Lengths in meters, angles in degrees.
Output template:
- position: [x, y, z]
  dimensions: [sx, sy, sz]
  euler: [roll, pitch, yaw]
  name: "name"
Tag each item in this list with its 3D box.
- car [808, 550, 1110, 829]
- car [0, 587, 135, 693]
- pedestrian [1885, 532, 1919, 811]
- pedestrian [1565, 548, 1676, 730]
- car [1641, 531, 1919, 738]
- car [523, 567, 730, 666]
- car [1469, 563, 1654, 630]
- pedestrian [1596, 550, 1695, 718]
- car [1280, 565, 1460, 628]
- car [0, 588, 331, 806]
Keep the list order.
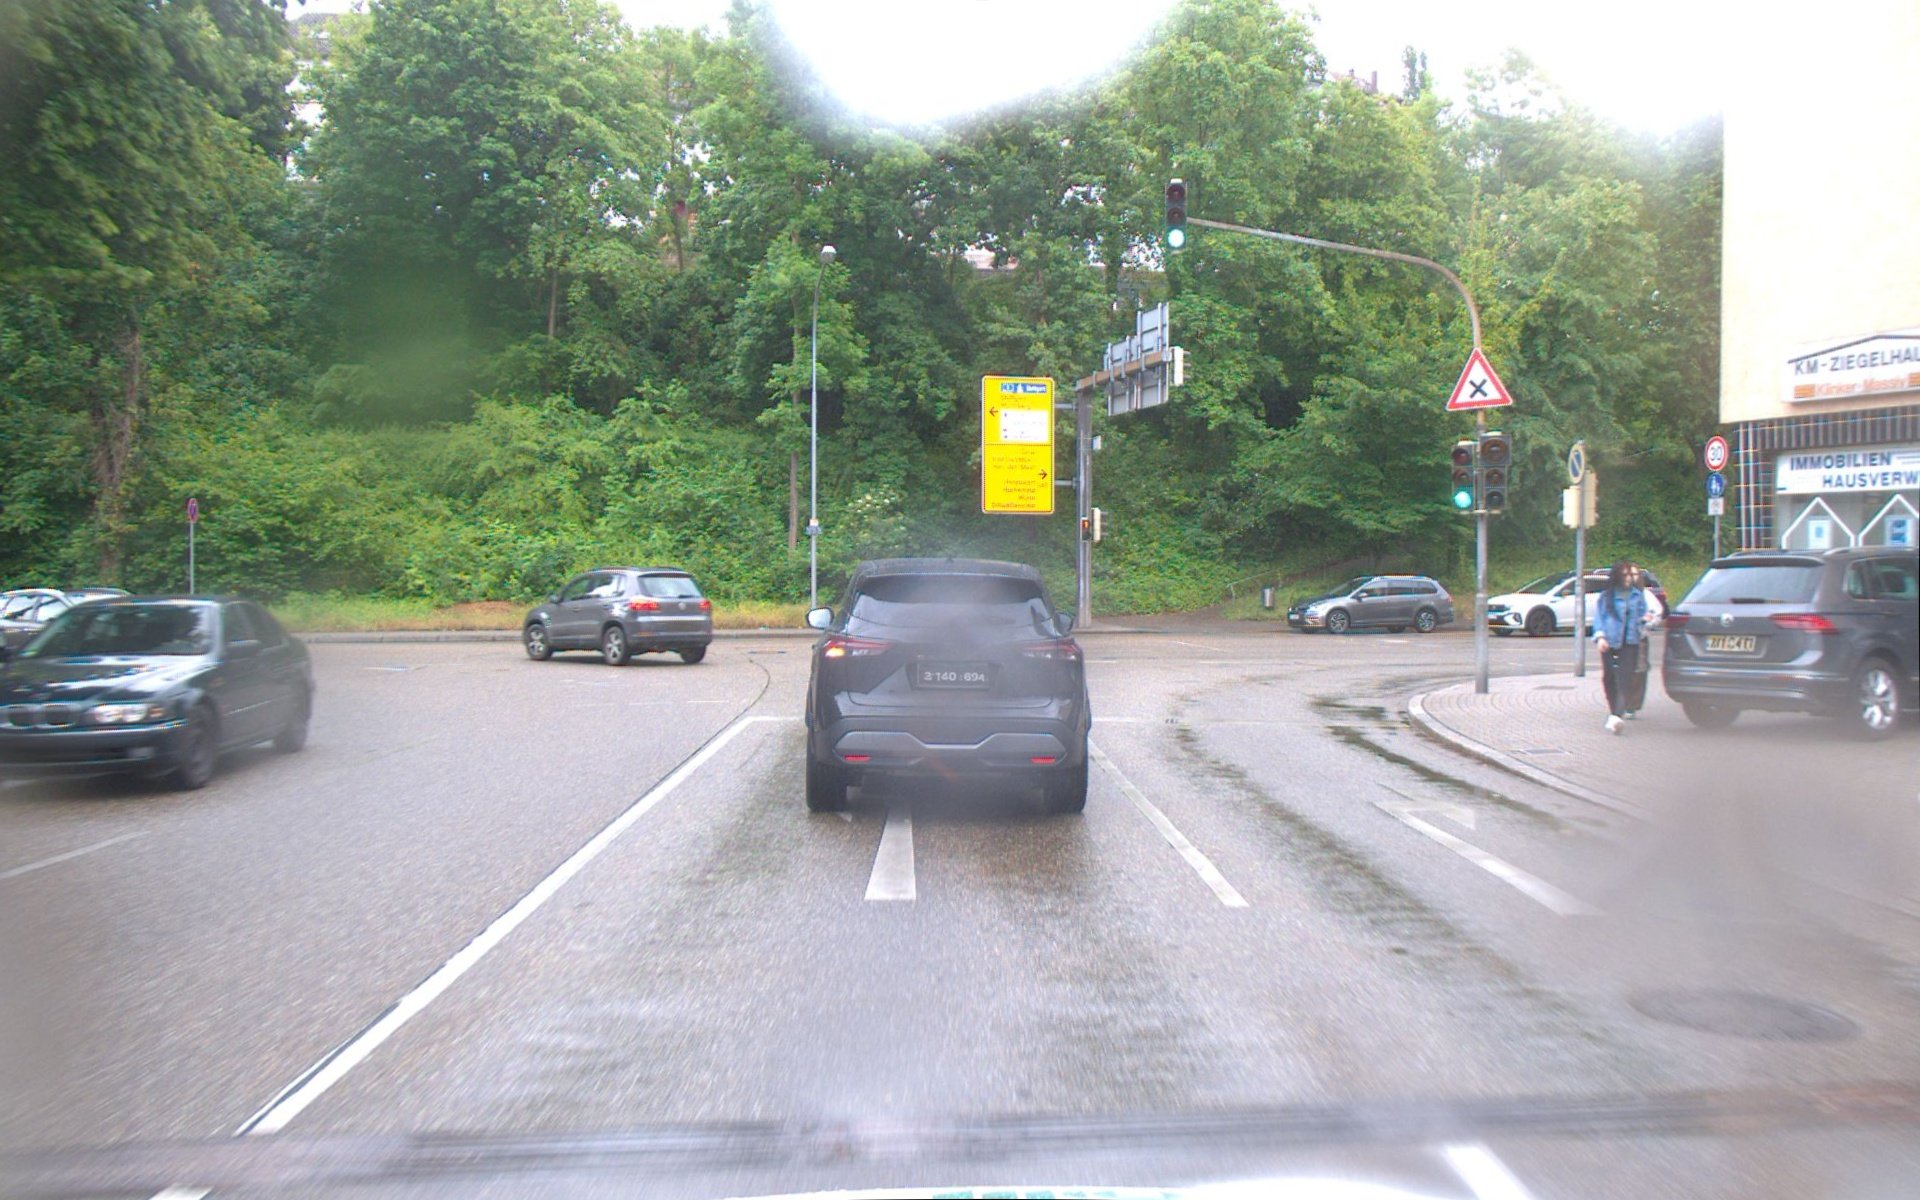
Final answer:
- position: [-0.133, 0.485, 11.706]
  dimensions: [1.775, 1.631, 3.997]
  euler: [0, 1, -4]
  name: "car"
- position: [-14.777, 0.591, 24.541]
  dimensions: [4.107, 1.475, 1.817]
  euler: [-1, 1, -1]
  name: "car"
- position: [6.245, 0.432, 10.075]
  dimensions: [0.745, 1.706, 0.781]
  euler: [-2, 2, -1]
  name: "pedestrian"
- position: [6.146, 0.344, 15.422]
  dimensions: [0.644, 1.628, 0.795]
  euler: [-2, 1, -4]
  name: "pedestrian"
- position: [8.600, 0.217, 15.372]
  dimensions: [4.315, 1.677, 1.867]
  euler: [-2, 1, -27]
  name: "car"
- position: [-5.998, 0.242, 29.507]
  dimensions: [1.803, 1.631, 3.935]
  euler: [0, 1, -44]
  name: "car"
- position: [14.951, -0.114, 41.145]
  dimensions: [4.074, 1.589, 1.802]
  euler: [0, 1, -16]
  name: "car"
- position: [6.865, 0.323, 16.545]
  dimensions: [0.748, 1.602, 0.779]
  euler: [-1, 2, 34]
  name: "pedestrian"
- position: [10.848, -0.117, 43.817]
  dimensions: [4.250, 1.528, 1.877]
  euler: [-2, 1, -13]
  name: "car"
- position: [-6.612, 0.662, 13.712]
  dimensions: [1.696, 1.485, 4.419]
  euler: [-1, 1, -9]
  name: "car"
